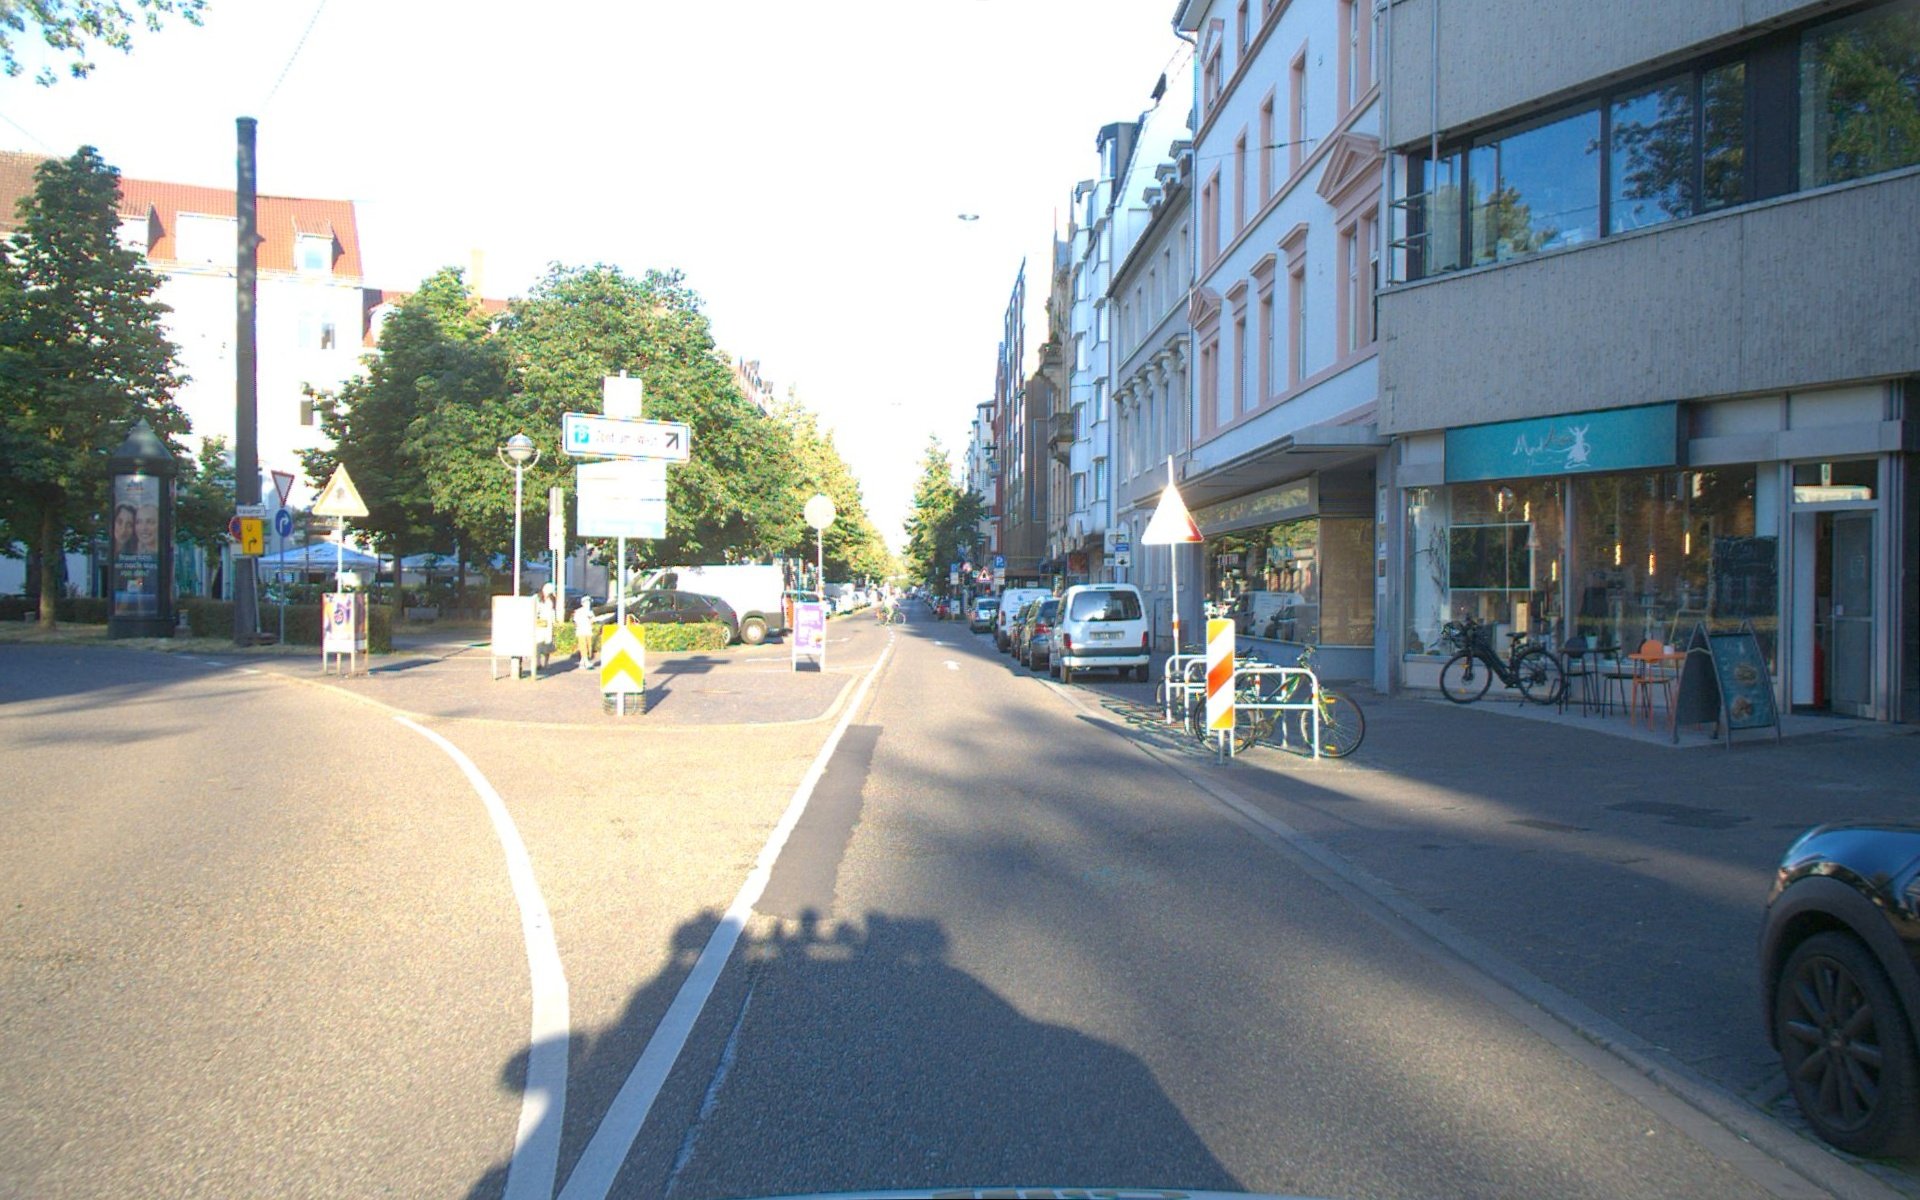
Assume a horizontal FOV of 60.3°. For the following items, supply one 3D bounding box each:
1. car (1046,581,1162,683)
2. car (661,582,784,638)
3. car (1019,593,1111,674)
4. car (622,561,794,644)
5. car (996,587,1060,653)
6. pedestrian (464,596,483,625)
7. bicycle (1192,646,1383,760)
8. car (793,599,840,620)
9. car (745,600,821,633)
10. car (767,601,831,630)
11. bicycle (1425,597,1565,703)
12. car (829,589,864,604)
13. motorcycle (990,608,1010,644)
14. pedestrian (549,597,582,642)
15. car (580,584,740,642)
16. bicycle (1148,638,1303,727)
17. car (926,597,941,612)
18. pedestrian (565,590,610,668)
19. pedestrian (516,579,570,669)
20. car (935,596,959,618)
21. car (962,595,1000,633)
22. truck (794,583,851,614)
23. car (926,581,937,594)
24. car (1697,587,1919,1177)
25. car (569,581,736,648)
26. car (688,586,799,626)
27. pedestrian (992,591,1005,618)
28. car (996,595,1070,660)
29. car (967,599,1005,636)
[{"bbox_3d":[2.710,0.585,31.934,1.756,1.823,4.090,0,0,-2],"label":"car"},{"bbox_3d":[-8.442,0.377,58.936,3.959,1.911,1.846,1,0,-38],"label":"car"},{"bbox_3d":[2.330,0.698,37.449,1.623,1.694,4.106,1,0,-2],"label":"car"},{"bbox_3d":[-7.466,0.091,49.020,4.547,2.290,2.182,2,0,-29],"label":"car"},{"bbox_3d":[2.014,0.560,49.947,1.675,1.867,4.305,1,0,-1],"label":"car"},{"bbox_3d":[-19.849,0.417,67.473,0.567,1.192,0.535,1,0,6],"label":"pedestrian"},{"bbox_3d":[3.161,0.992,16.040,1.749,1.007,0.542,-2,1,10],"label":"bicycle"},{"bbox_3d":[-11.628,0.772,133.812,3.664,1.624,1.999,1,0,-2],"label":"car"},{"bbox_3d":[-10.560,0.973,98.976,4.360,1.867,2.033,1,0,-3],"label":"car"},{"bbox_3d":[-10.333,1.004,106.212,3.910,1.738,1.832,1,0,-3],"label":"car"},{"bbox_3d":[6.771,0.649,20.996,0.412,1.299,1.637,0,-3,-44],"label":"bicycle"},{"bbox_3d":[-12.248,-0.380,178.273,3.664,1.519,1.999,1,0,-3],"label":"car"},{"bbox_3d":[1.420,0.926,59.361,0.576,1.221,2.209,1,0,-2],"label":"motorcycle"},{"bbox_3d":[-11.718,0.574,49.116,0.741,1.300,0.652,1,0,-39],"label":"pedestrian"},{"bbox_3d":[-8.184,0.363,45.335,3.965,1.512,1.805,1,0,-42],"label":"car"},{"bbox_3d":[3.214,1.003,20.034,1.751,1.007,0.542,-2,1,21],"label":"bicycle"},{"bbox_3d":[-2.493,0.415,155.342,1.183,1.323,2.658,1,-1,-4],"label":"car"},{"bbox_3d":[-6.806,0.530,30.219,0.559,1.388,0.606,1,0,-39],"label":"pedestrian"},{"bbox_3d":[-7.521,0.422,29.841,0.693,1.586,0.685,1,0,-39],"label":"pedestrian"},{"bbox_3d":[-0.952,0.562,123.009,1.545,1.570,3.393,-1,-1,-4],"label":"car"},{"bbox_3d":[1.002,0.651,81.171,1.662,1.800,3.998,0,0,-2],"label":"car"},{"bbox_3d":[-12.070,-0.140,145.304,4.842,2.661,1.999,0,0,-3],"label":"truck"},{"bbox_3d":[-3.929,-1.705,225.348,1.283,1.628,2.658,1,-1,-4],"label":"car"},{"bbox_3d":[3.397,0.761,3.626,1.754,1.534,3.920,1,0,-1],"label":"car"},{"bbox_3d":[-7.827,0.352,42.212,3.850,1.610,1.776,1,1,-42],"label":"car"},{"bbox_3d":[-8.632,0.236,66.079,3.947,1.512,1.979,1,0,-31],"label":"car"},{"bbox_3d":[2.439,0.259,105.521,0.750,1.718,0.785,0,0,-4],"label":"pedestrian"},{"bbox_3d":[1.886,0.692,43.696,1.633,1.571,3.881,1,0,-2],"label":"car"},{"bbox_3d":[1.194,0.762,76.139,1.646,1.588,4.000,-1,0,1],"label":"car"}]
